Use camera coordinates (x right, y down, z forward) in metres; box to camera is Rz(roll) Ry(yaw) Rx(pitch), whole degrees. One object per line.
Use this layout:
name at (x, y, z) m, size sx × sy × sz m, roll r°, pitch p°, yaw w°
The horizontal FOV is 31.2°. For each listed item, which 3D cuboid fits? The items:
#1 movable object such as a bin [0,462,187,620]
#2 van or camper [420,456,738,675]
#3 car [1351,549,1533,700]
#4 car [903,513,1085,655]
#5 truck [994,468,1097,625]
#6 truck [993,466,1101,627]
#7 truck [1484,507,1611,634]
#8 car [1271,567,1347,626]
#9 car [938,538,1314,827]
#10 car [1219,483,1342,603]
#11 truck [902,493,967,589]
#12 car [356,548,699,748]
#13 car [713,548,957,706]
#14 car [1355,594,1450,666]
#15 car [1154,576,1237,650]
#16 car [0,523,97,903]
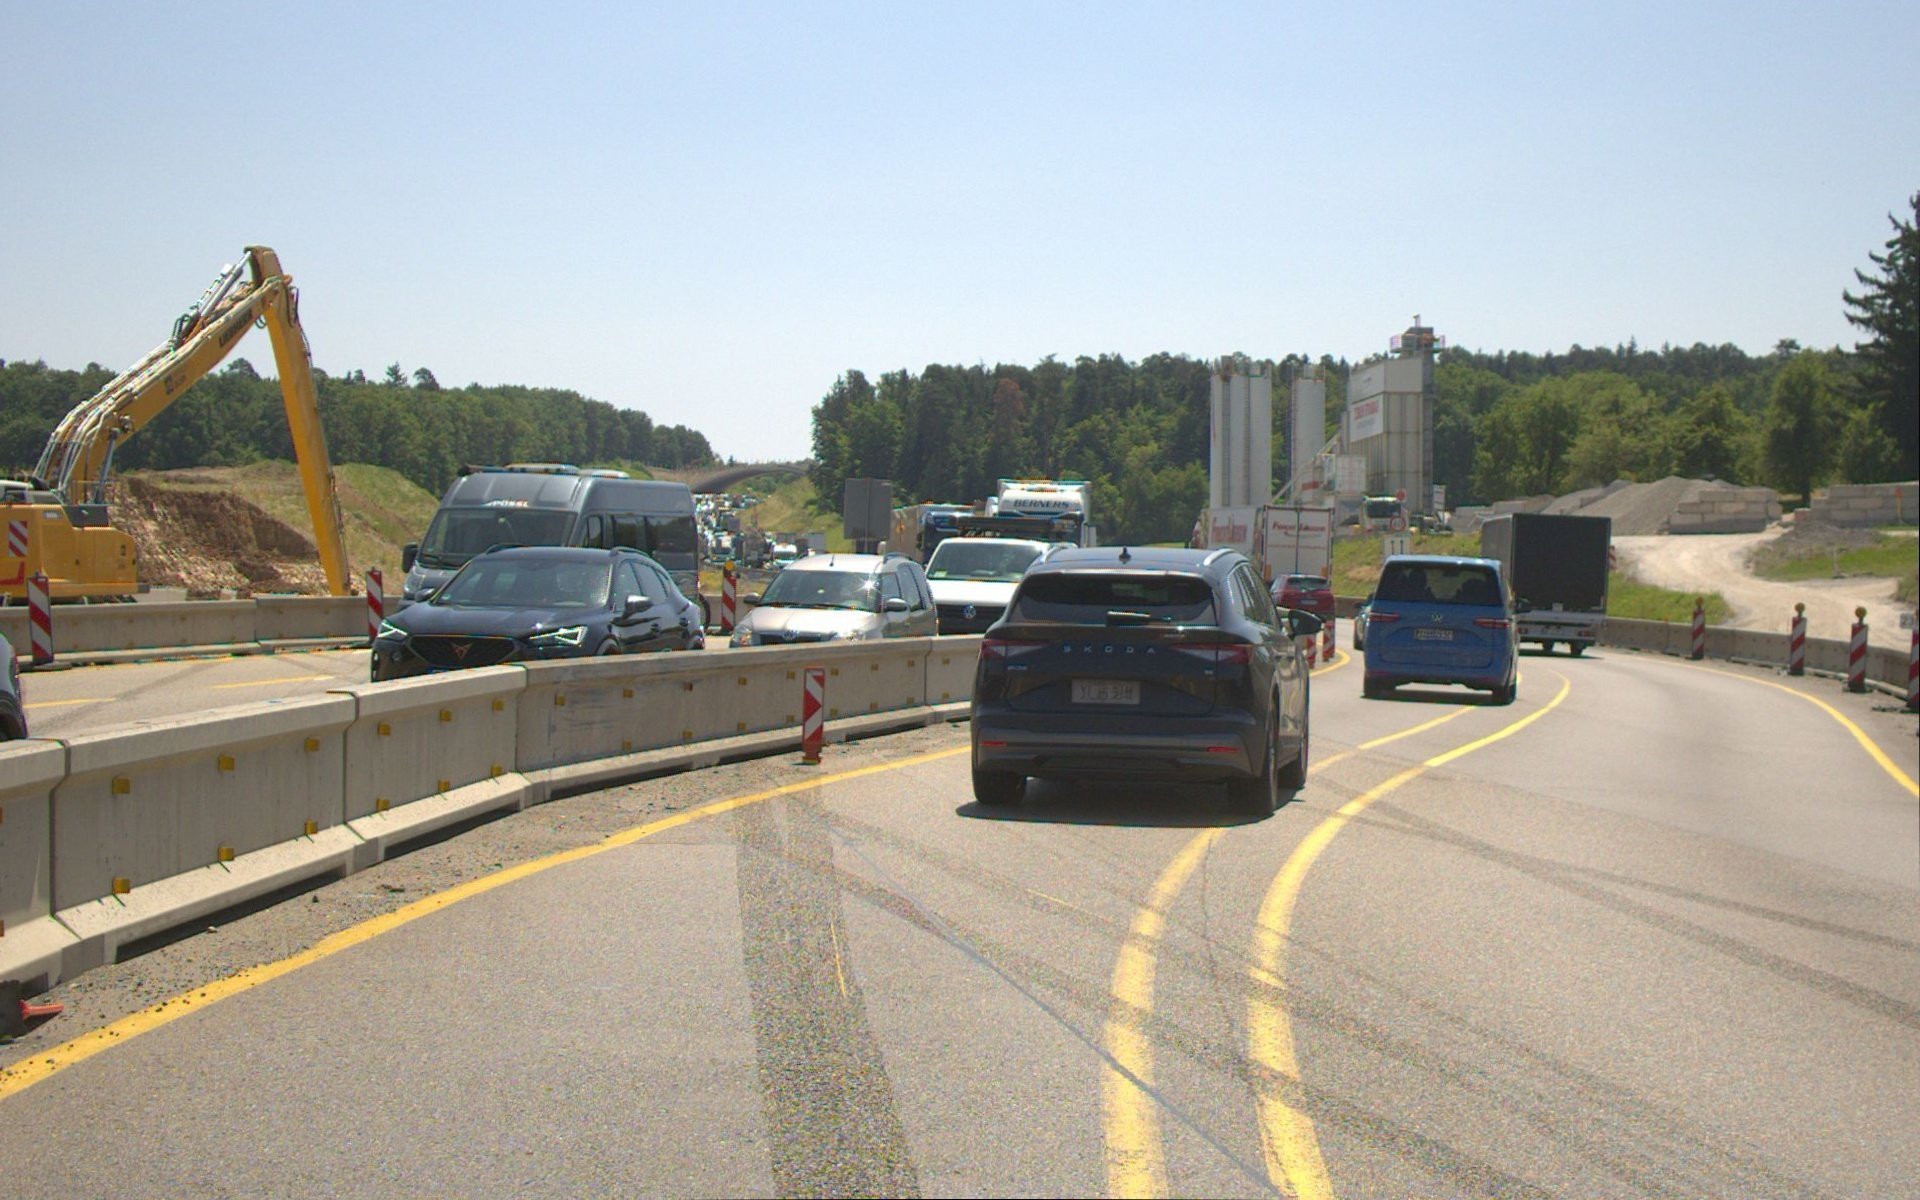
movable object such as a bin at (-15.520, -1.021, 56.699) m, size 3.293 × 2.432 × 5.436 m, roll 4°, pitch 1°, yaw 13°
van or camper at (-4.642, -0.434, 43.088) m, size 2.100 × 2.532 × 6.302 m, roll 0°, pitch 1°, yaw 12°
car at (6.434, 0.275, 45.582) m, size 1.995 × 1.837 × 3.998 m, roll 2°, pitch 1°, yaw 13°
car at (0.542, -0.234, 48.700) m, size 1.873 × 1.866 × 5.056 m, roll 1°, pitch 1°, yaw 8°
truck at (2.443, -1.581, 100.542) m, size 2.773 × 4.263 × 11.780 m, roll 1°, pitch 1°, yaw 1°
truck at (2.366, -1.481, 94.816) m, size 2.771 × 4.245 × 6.199 m, roll 1°, pitch 1°, yaw 1°
truck at (14.019, -0.738, 82.341) m, size 2.673 × 2.935 × 5.619 m, roll 0°, pitch 1°, yaw 7°
car at (10.486, -0.123, 103.576) m, size 1.821 × 1.638 × 3.866 m, roll 2°, pitch 1°, yaw 0°
car at (1.149, 0.451, 21.757) m, size 1.843 × 1.576 × 3.998 m, roll 3°, pitch 1°, yaw 10°
car at (11.902, -2.138, 128.445) m, size 3.436 × 4.087 × 9.197 m, roll 4°, pitch 1°, yaw 0°
truck at (-1.187, -2.667, 155.577) m, size 2.773 × 4.123 × 10.871 m, roll 1°, pitch 1°, yaw -1°
car at (-3.424, 0.330, 28.040) m, size 1.690 × 1.476 × 4.469 m, roll -1°, pitch 1°, yaw 7°
car at (-1.337, 0.250, 38.654) m, size 1.758 × 1.610 × 4.226 m, roll 2°, pitch 1°, yaw 11°
car at (10.047, 0.657, 78.322) m, size 2.046 × 1.521 × 5.065 m, roll -1°, pitch 0°, yaw 6°
car at (5.053, 0.248, 73.446) m, size 1.656 × 1.448 × 4.247 m, roll 2°, pitch 1°, yaw 5°
car at (-4.988, 0.505, 13.525) m, size 1.768 × 1.602 × 4.710 m, roll -1°, pitch 1°, yaw 3°
